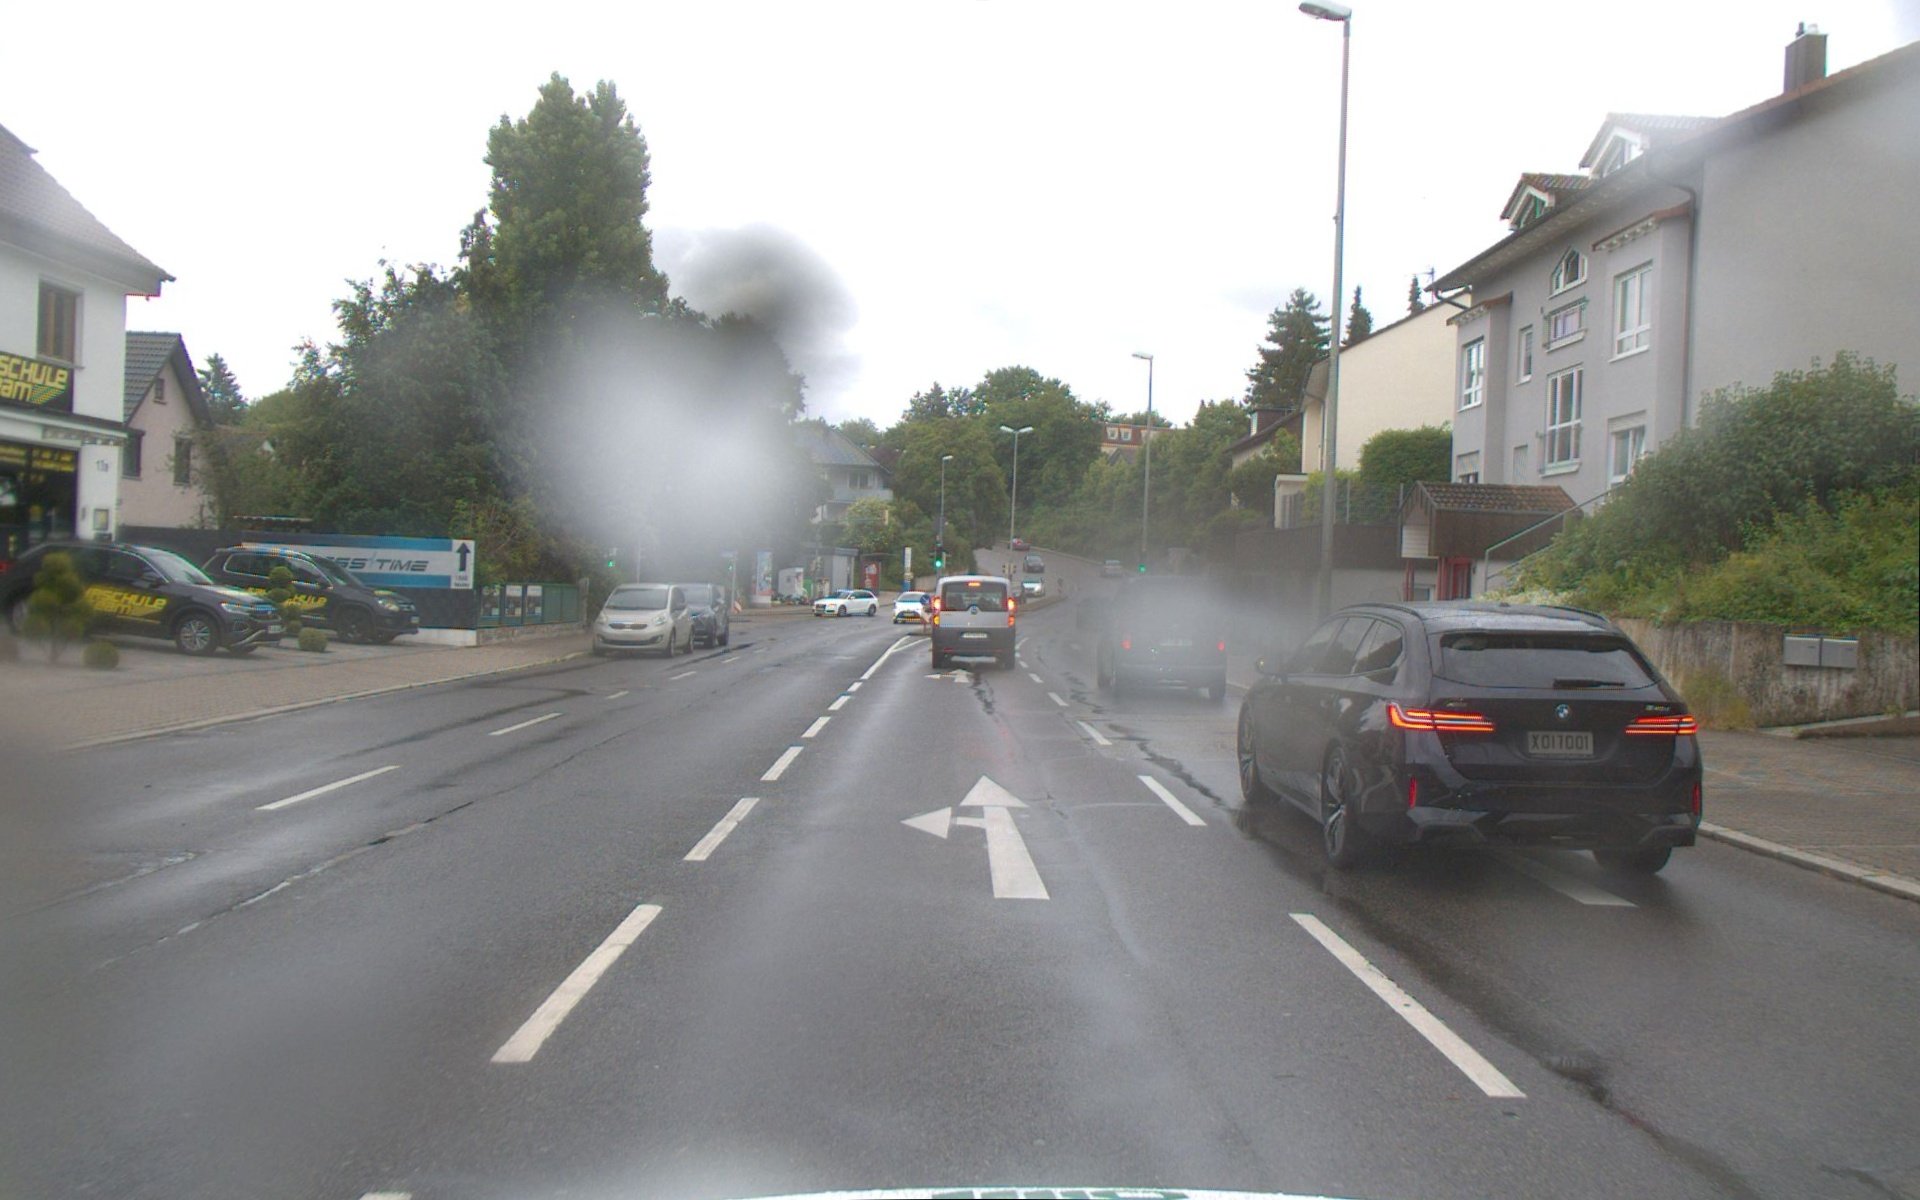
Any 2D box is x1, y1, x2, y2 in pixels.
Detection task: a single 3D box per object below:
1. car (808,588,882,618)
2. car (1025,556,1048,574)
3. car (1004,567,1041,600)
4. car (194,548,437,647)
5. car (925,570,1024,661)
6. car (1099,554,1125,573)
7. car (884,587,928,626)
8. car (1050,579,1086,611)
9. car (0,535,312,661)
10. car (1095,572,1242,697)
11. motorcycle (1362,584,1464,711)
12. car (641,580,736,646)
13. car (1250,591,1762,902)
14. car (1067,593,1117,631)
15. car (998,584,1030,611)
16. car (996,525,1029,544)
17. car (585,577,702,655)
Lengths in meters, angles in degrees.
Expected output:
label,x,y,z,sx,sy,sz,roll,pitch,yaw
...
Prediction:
label,x,y,z,sx,sy,sz,roll,pitch,yaw
car,-6.277,0.171,90.703,1.956,1.574,4.389,1,0,28
car,7.449,-3.372,160.917,1.953,1.612,4.000,1,0,0
car,4.655,-1.283,124.962,2.470,2.048,5.610,2,4,-1
car,-12.742,-0.043,32.892,3.991,1.542,1.855,5,0,-1
car,0.288,0.311,35.180,1.953,1.768,4.000,1,0,0
car,14.103,-3.365,153.435,1.953,1.612,4.000,1,0,0
car,-2.599,0.304,80.378,1.953,1.803,4.000,1,0,0
car,8.002,-0.397,122.547,2.469,2.048,5.612,2,3,4
car,-12.593,-0.029,25.960,3.991,1.542,1.855,5,0,-1
car,3.241,0.501,26.411,1.801,1.798,4.000,1,0,0
motorcycle,5.793,0.575,21.281,0.689,1.536,2.150,-1,0,0
car,-7.145,0.325,43.899,1.846,1.612,4.000,1,0,0
car,3.095,0.733,10.322,1.952,1.509,4.001,1,0,2
car,5.940,0.515,74.785,1.953,1.606,4.000,0,1,0
car,3.611,-0.180,111.262,1.953,1.803,4.000,1,0,0
car,6.055,-7.608,192.440,2.478,2.048,5.592,1,3,-13
car,-7.062,0.343,37.258,1.846,1.612,4.000,1,0,0
